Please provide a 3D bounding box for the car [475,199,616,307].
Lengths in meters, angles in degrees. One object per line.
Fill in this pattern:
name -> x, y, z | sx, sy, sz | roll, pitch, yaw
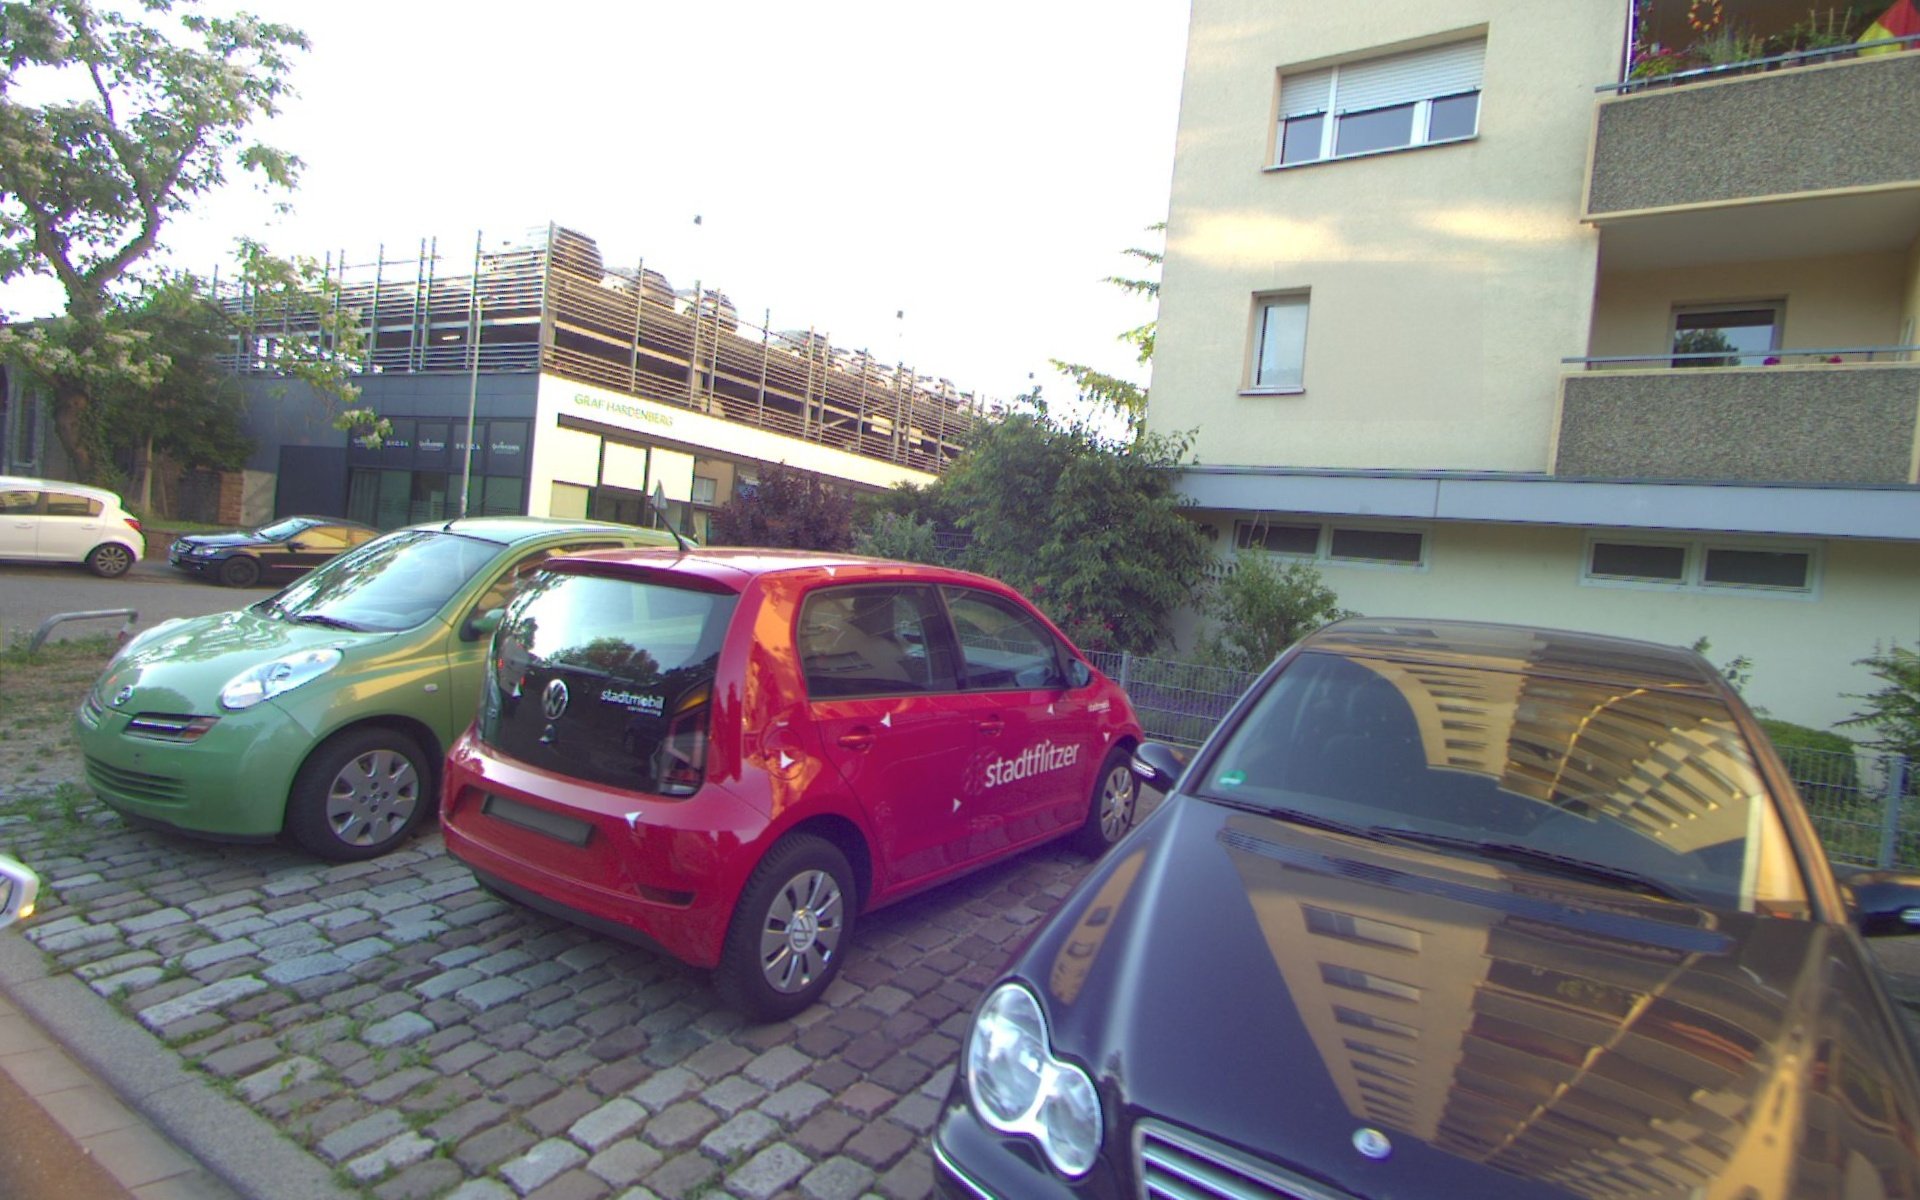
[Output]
car -> -12.379, -10.222, 29.953 | 3.938, 2.039, 1.993 | 6, 0, 36

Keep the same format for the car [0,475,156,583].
car -> -16.288, -1.317, 16.866 | 1.924, 1.593, 3.860 | 7, 0, 29

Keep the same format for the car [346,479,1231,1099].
car -> -0.307, 0.435, 5.054 | 1.816, 1.655, 4.398 | 7, 5, 33

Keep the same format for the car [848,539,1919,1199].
car -> 1.668, 0.773, 3.265 | 1.814, 1.551, 4.407 | 4, 1, 29

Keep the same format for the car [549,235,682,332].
car -> -11.038, -10.022, 32.146 | 3.938, 2.039, 1.993 | 6, 0, 36

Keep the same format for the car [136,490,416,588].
car -> -13.712, -1.180, 20.408 | 1.794, 1.523, 4.290 | 7, 2, 35

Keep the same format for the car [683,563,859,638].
car -> -4.388, 0.054, 23.788 | 1.794, 1.482, 3.835 | 7, 2, 35

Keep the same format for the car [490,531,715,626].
car -> -7.042, -0.379, 20.144 | 1.794, 1.544, 3.835 | 7, 2, 35

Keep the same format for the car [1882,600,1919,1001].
car -> 4.026, 0.898, 2.215 | 1.814, 1.684, 4.404 | 4, 2, 29

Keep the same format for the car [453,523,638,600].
car -> -10.246, -0.921, 25.065 | 1.794, 1.523, 3.835 | 7, 2, 35

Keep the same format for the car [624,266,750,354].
car -> -9.352, -9.807, 34.331 | 3.938, 2.039, 1.993 | 6, 0, 36

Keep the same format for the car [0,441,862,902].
car -> -2.620, 0.258, 5.974 | 1.814, 1.652, 4.407 | 4, 1, 29
